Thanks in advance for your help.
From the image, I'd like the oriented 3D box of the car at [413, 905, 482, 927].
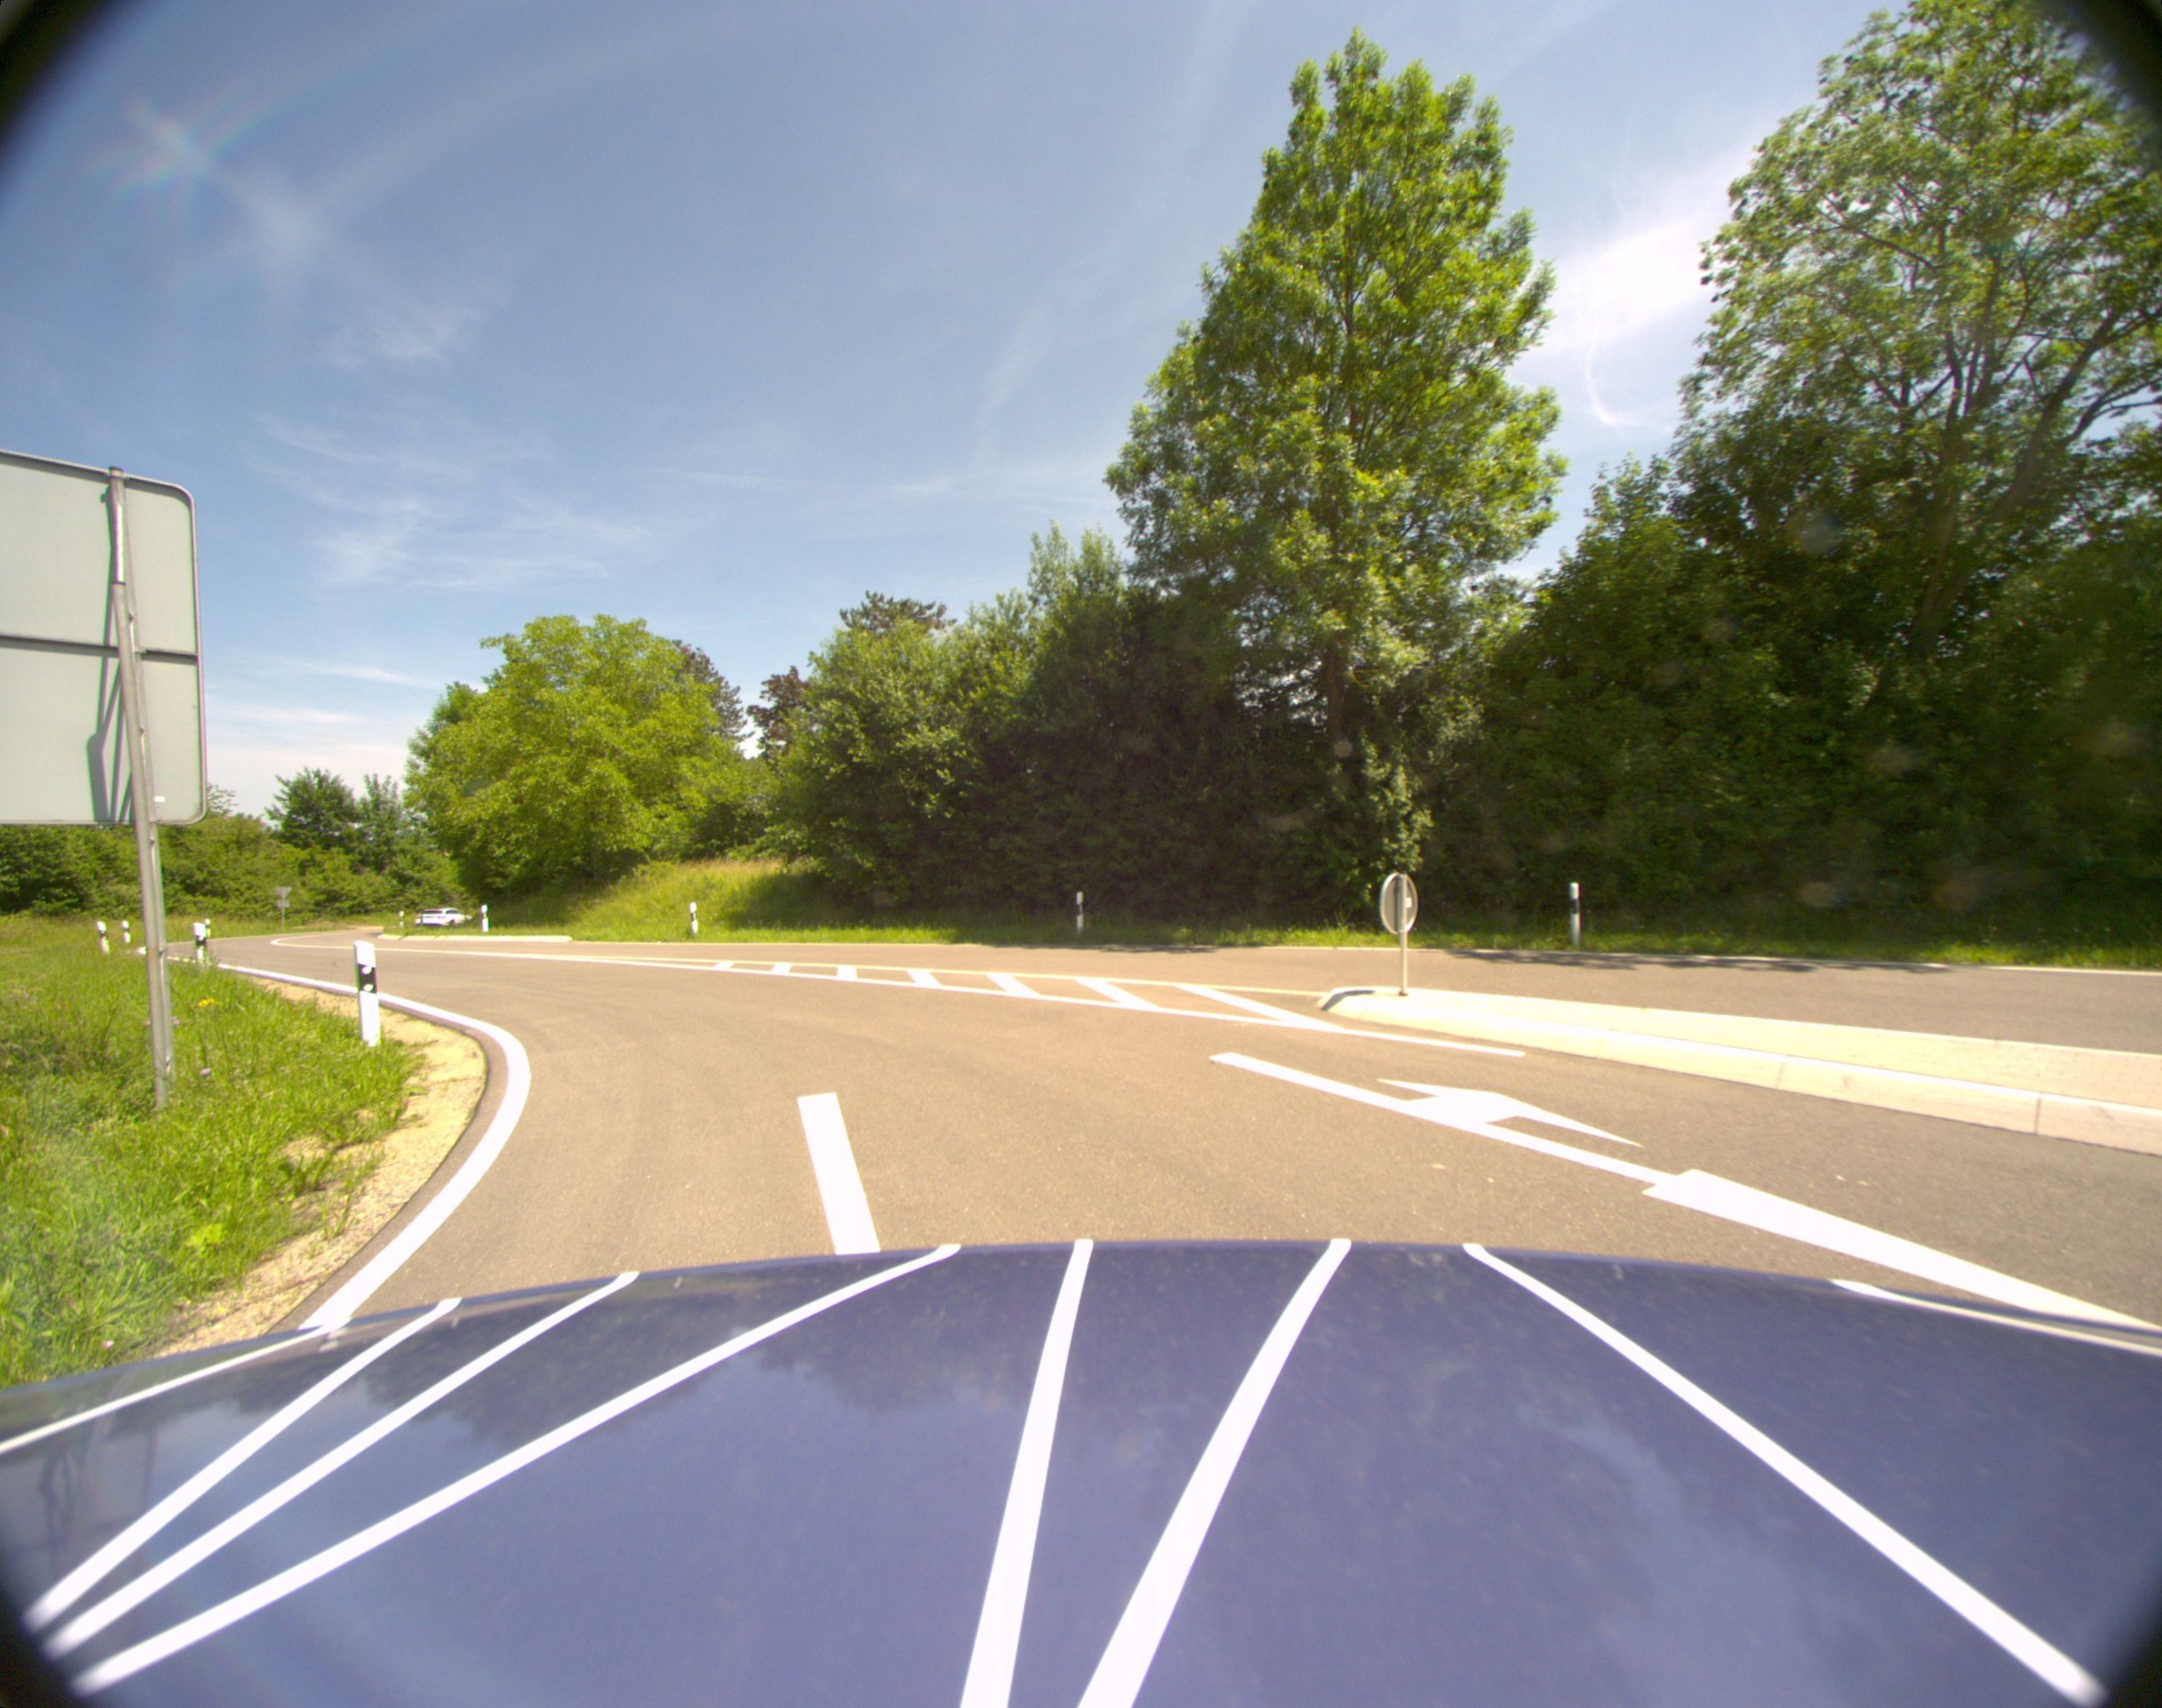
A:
[{"bbox_3d":[-44.581,4.339,53.612,1.811,1.403,5.329,-2,-3,-18],"label":"car"}]
